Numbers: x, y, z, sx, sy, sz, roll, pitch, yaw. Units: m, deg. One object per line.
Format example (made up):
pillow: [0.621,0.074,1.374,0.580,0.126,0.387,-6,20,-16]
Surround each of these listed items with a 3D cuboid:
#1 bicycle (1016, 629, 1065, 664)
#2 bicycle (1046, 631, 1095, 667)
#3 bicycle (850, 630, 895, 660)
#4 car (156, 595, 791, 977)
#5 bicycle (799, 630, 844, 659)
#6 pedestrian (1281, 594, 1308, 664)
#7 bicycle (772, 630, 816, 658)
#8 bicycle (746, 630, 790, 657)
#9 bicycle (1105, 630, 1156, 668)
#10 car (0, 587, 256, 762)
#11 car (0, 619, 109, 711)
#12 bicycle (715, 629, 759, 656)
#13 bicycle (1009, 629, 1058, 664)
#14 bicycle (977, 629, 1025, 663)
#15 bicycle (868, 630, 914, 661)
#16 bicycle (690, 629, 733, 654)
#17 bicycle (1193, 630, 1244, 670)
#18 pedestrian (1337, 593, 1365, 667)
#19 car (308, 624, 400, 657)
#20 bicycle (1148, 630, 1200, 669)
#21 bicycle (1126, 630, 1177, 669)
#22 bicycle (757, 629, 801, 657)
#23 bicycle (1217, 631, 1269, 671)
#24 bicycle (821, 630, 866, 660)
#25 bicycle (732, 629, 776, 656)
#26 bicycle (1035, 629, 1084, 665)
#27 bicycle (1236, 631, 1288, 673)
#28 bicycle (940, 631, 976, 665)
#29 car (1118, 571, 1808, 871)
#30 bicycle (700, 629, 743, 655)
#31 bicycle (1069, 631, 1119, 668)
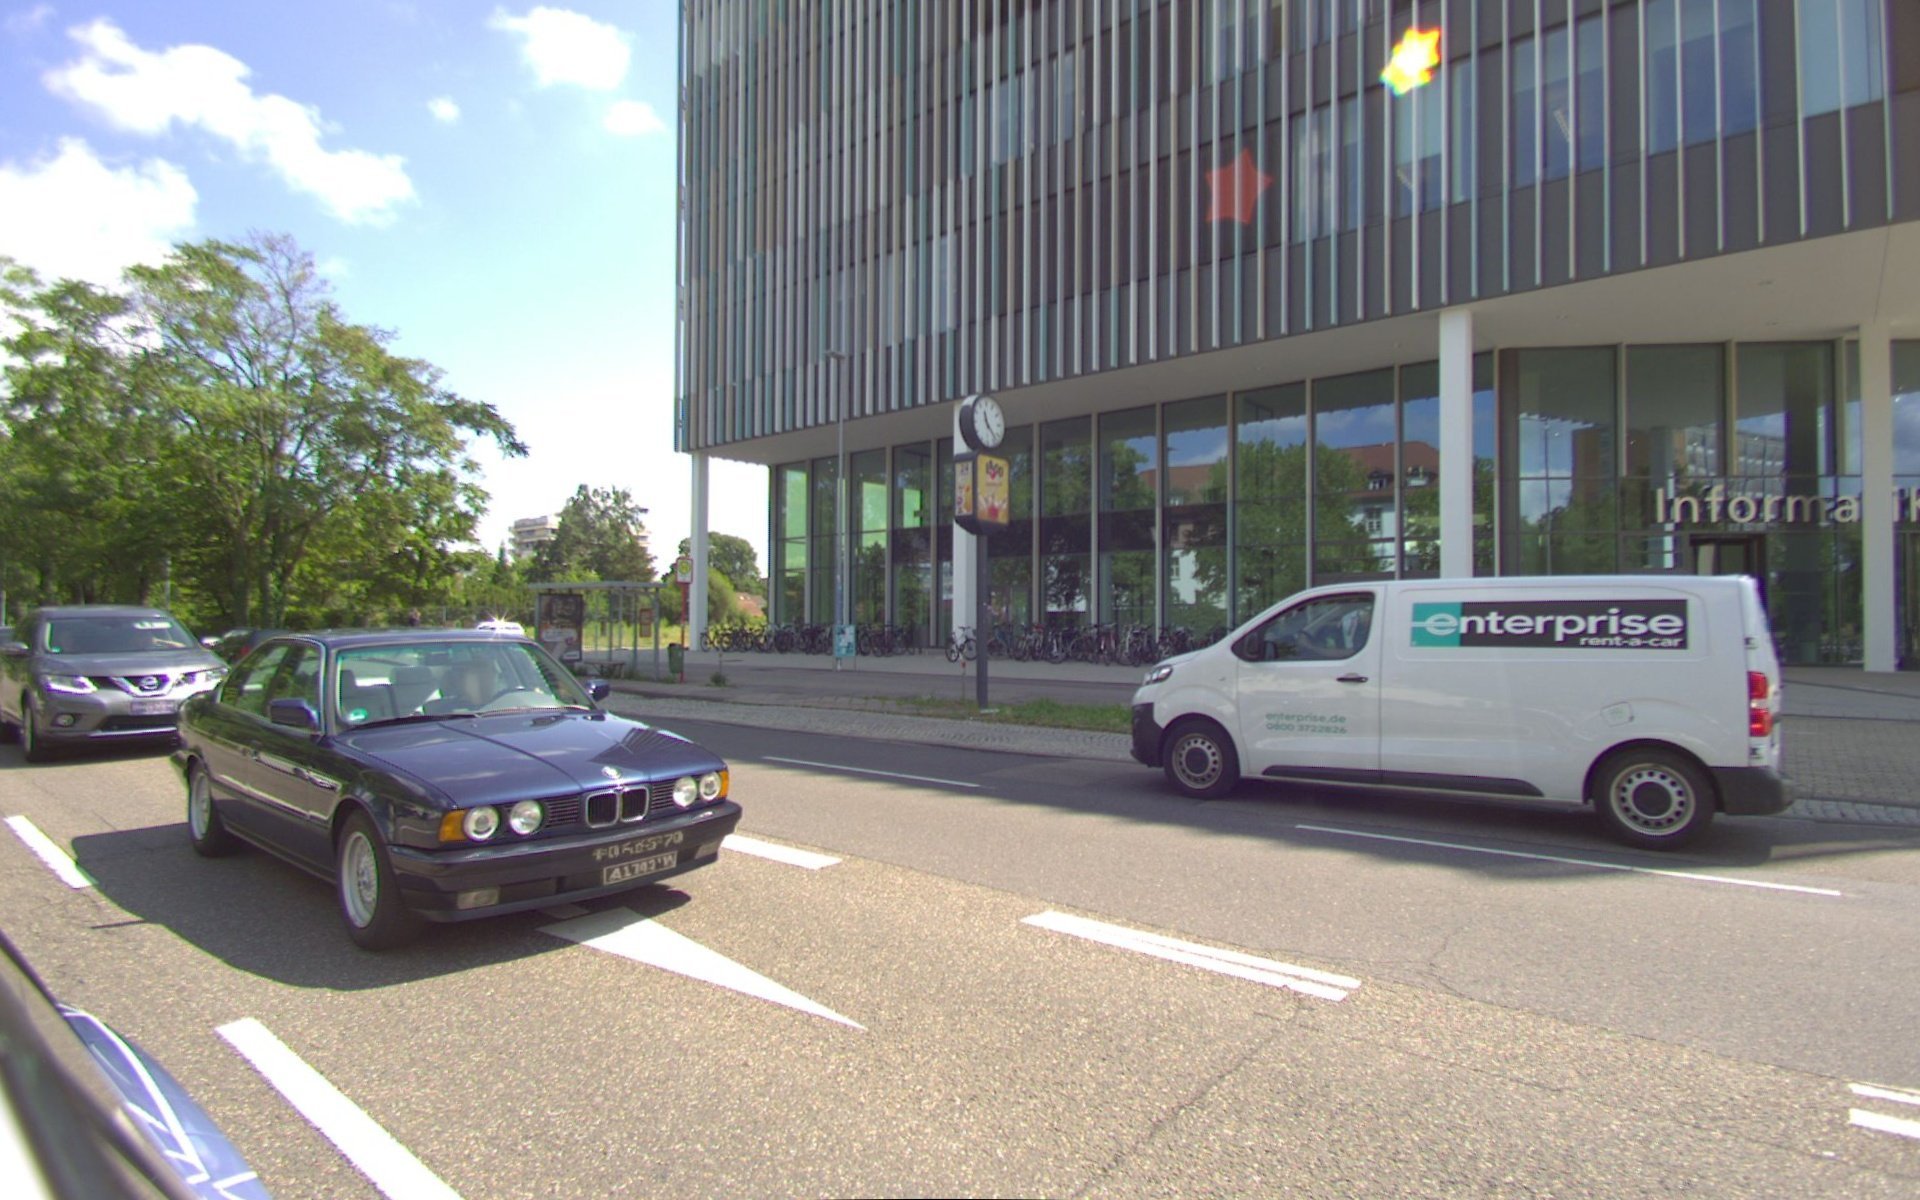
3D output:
bicycle: [2.370,1.351,29.741,1.521,0.962,0.374,-1,0,-35]
bicycle: [3.153,1.383,28.856,1.521,0.962,0.374,-1,0,-35]
bicycle: [-2.997,1.540,34.927,0.433,0.962,1.761,-1,0,40]
car: [-3.108,0.727,5.879,4.612,1.397,1.674,-1,-1,41]
bicycle: [-4.959,1.588,36.254,0.433,0.962,1.761,-1,0,40]
pedestrian: [8.936,0.762,27.027,0.553,1.856,0.556,-1,-1,33]
bicycle: [-6.072,1.603,37.091,0.433,0.962,1.761,-1,0,40]
bicycle: [-7.254,1.631,38.288,0.433,0.962,1.761,-1,0,40]
bicycle: [4.640,1.322,27.517,1.521,0.962,0.374,-1,0,-35]
car: [-10.119,0.819,11.952,4.474,1.692,1.801,-2,-4,40]
car: [-16.139,1.044,17.332,4.189,1.426,1.805,-1,-2,42]
bicycle: [-8.663,1.636,39.424,0.433,0.962,1.761,-1,0,40]
bicycle: [2.193,1.370,30.128,1.521,0.962,0.374,-1,0,-35]
bicycle: [1.260,1.401,30.917,1.521,0.962,0.374,-1,0,-35]
bicycle: [-2.291,1.521,34.007,0.433,0.962,1.761,-1,0,40]
bicycle: [-9.969,1.653,40.596,0.433,0.962,1.761,-1,0,40]
bicycle: [6.713,1.295,26.243,1.521,0.962,0.374,-1,0,-35]
pedestrian: [9.948,0.749,25.728,0.553,1.856,0.556,-1,-1,33]
car: [-31.509,2.074,52.653,3.771,1.522,1.901,-1,0,-44]
bicycle: [5.692,1.308,26.883,1.521,0.962,0.374,-1,0,-35]
bicycle: [5.122,1.316,27.075,1.521,0.962,0.374,-1,0,-35]
bicycle: [-6.763,1.612,37.933,0.433,0.962,1.761,-1,0,40]
bicycle: [7.201,1.289,25.754,1.521,0.962,0.374,-1,0,-35]
bicycle: [-4.089,1.568,35.685,0.433,0.962,1.761,-1,0,40]
bicycle: [-7.880,1.626,38.793,0.433,0.962,1.761,-1,0,40]
bicycle: [2.902,1.359,29.359,1.521,0.962,0.374,-1,0,-35]
bicycle: [7.558,1.285,25.289,1.521,0.962,0.374,-1,0,-35]
bicycle: [-0.041,1.432,30.679,0.372,0.962,1.531,-1,0,29]
car: [3.846,0.827,8.376,4.725,1.825,1.879,-2,-4,38]
bicycle: [-9.461,1.647,40.178,0.433,0.962,1.761,-1,0,40]
bicycle: [3.758,1.362,28.282,1.521,0.962,0.374,-1,0,-35]
